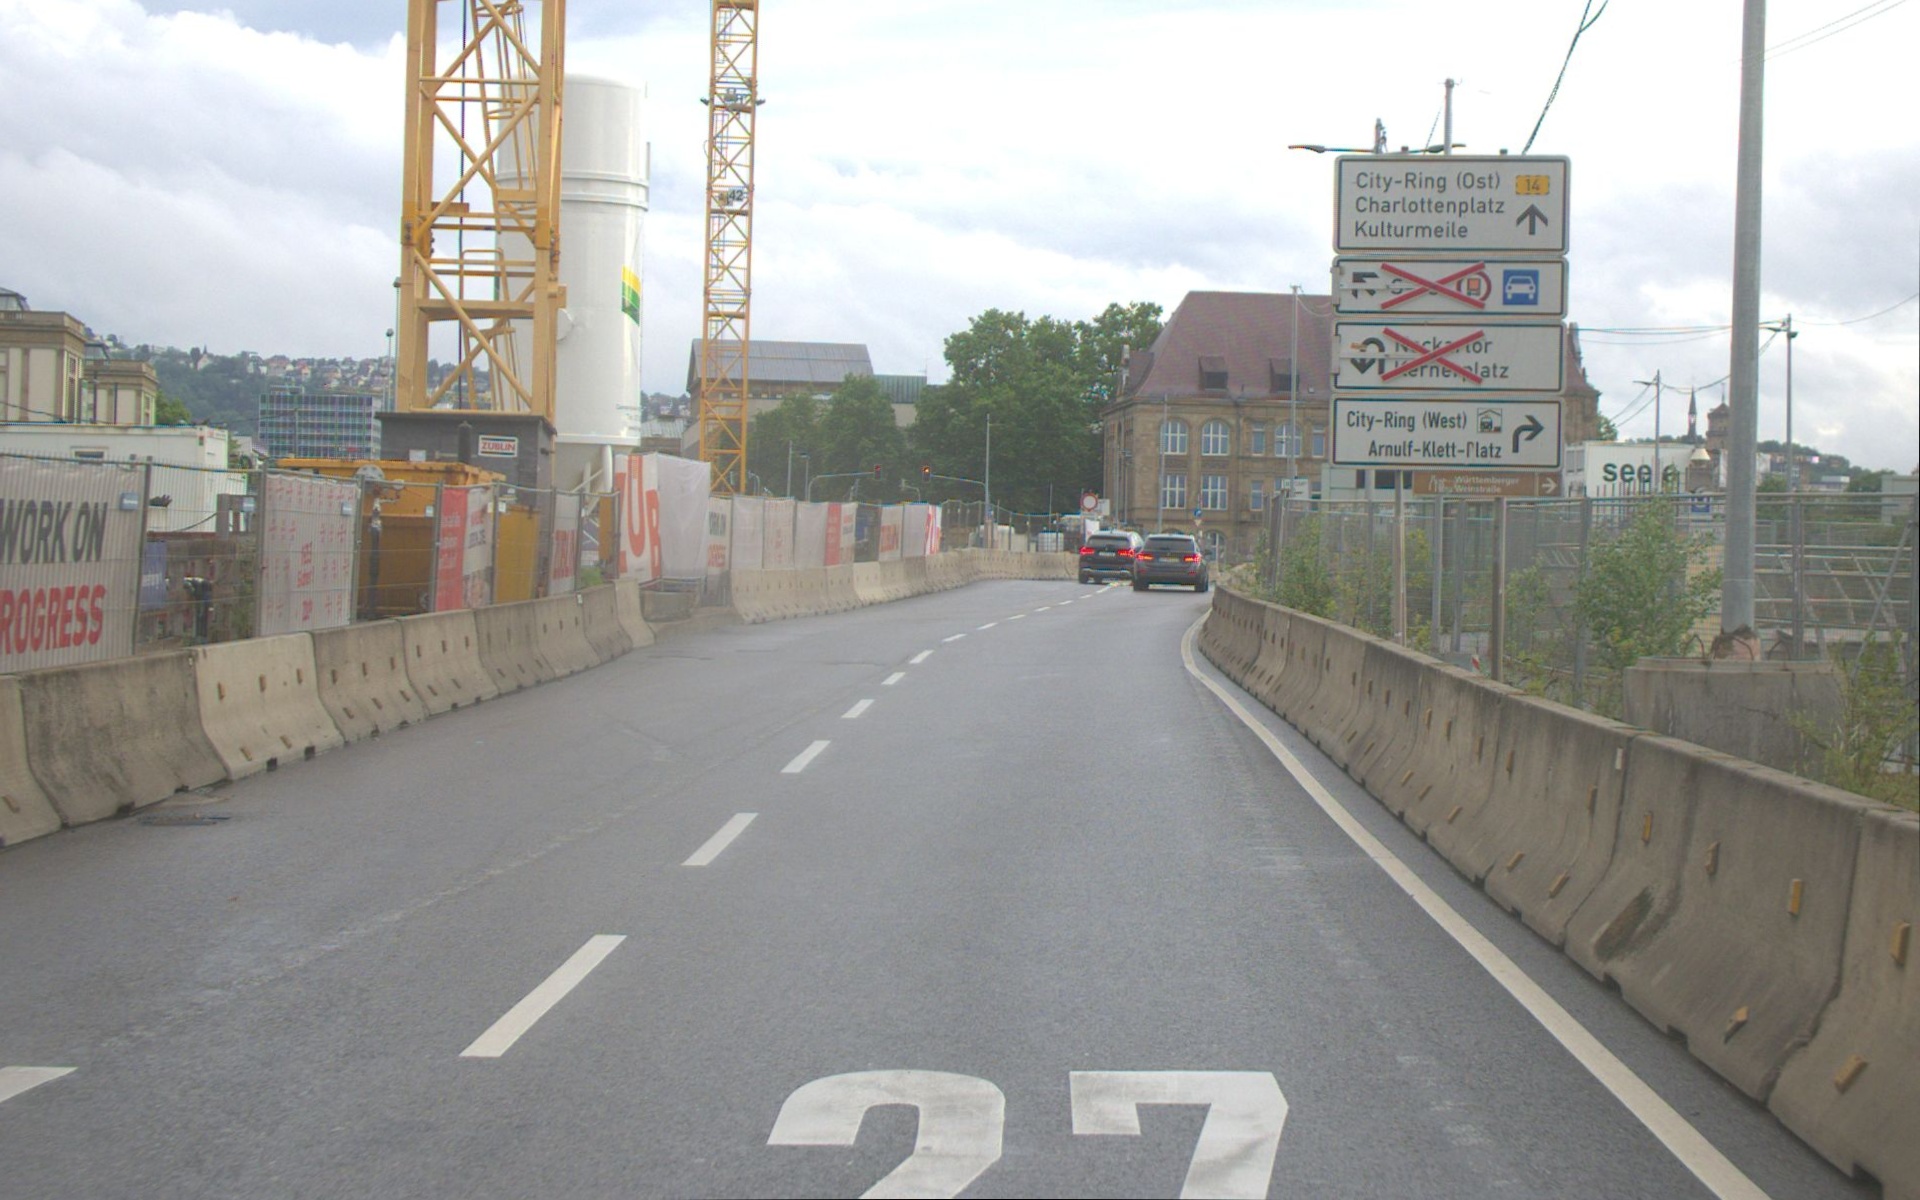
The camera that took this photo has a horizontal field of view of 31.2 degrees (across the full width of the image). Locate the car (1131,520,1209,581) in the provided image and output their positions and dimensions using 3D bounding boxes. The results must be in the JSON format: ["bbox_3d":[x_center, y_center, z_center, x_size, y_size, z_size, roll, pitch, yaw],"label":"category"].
[{"bbox_3d":[5.309,-1.247,87.287,1.863,1.428,4.656,2,0,3],"label":"car"}]

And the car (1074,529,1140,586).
[{"bbox_3d":[4.566,-1.336,106.275,1.863,1.655,4.656,2,1,4],"label":"car"}]
